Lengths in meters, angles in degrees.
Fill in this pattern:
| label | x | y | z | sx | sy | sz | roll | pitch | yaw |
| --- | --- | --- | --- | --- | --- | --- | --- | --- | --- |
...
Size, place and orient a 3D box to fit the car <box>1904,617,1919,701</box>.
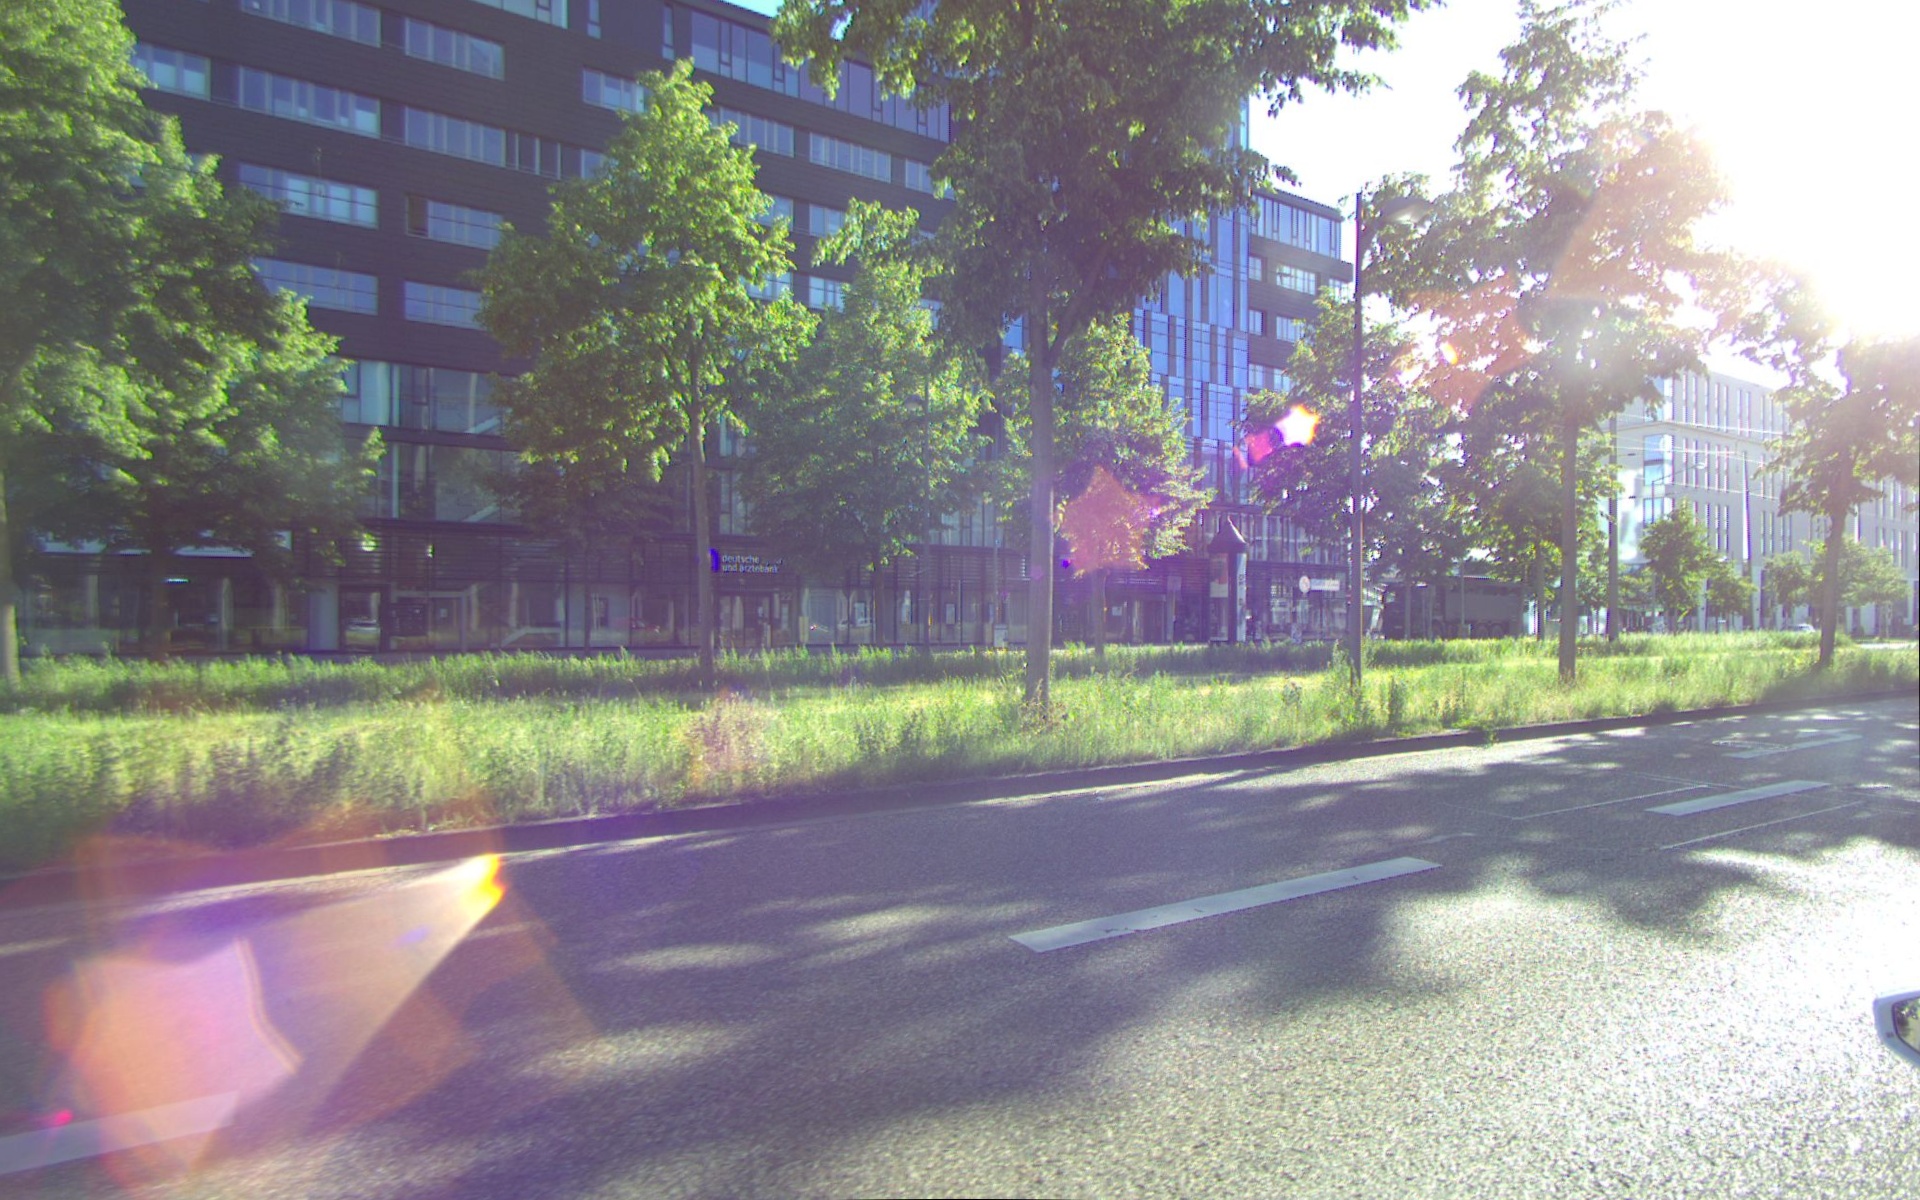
| label | x | y | z | sx | sy | sz | roll | pitch | yaw |
| --- | --- | --- | --- | --- | --- | --- | --- | --- | --- |
| car | 18.748 | 1.043 | 17.932 | 3.958 | 1.460 | 1.931 | 1 | -1 | -34 |
